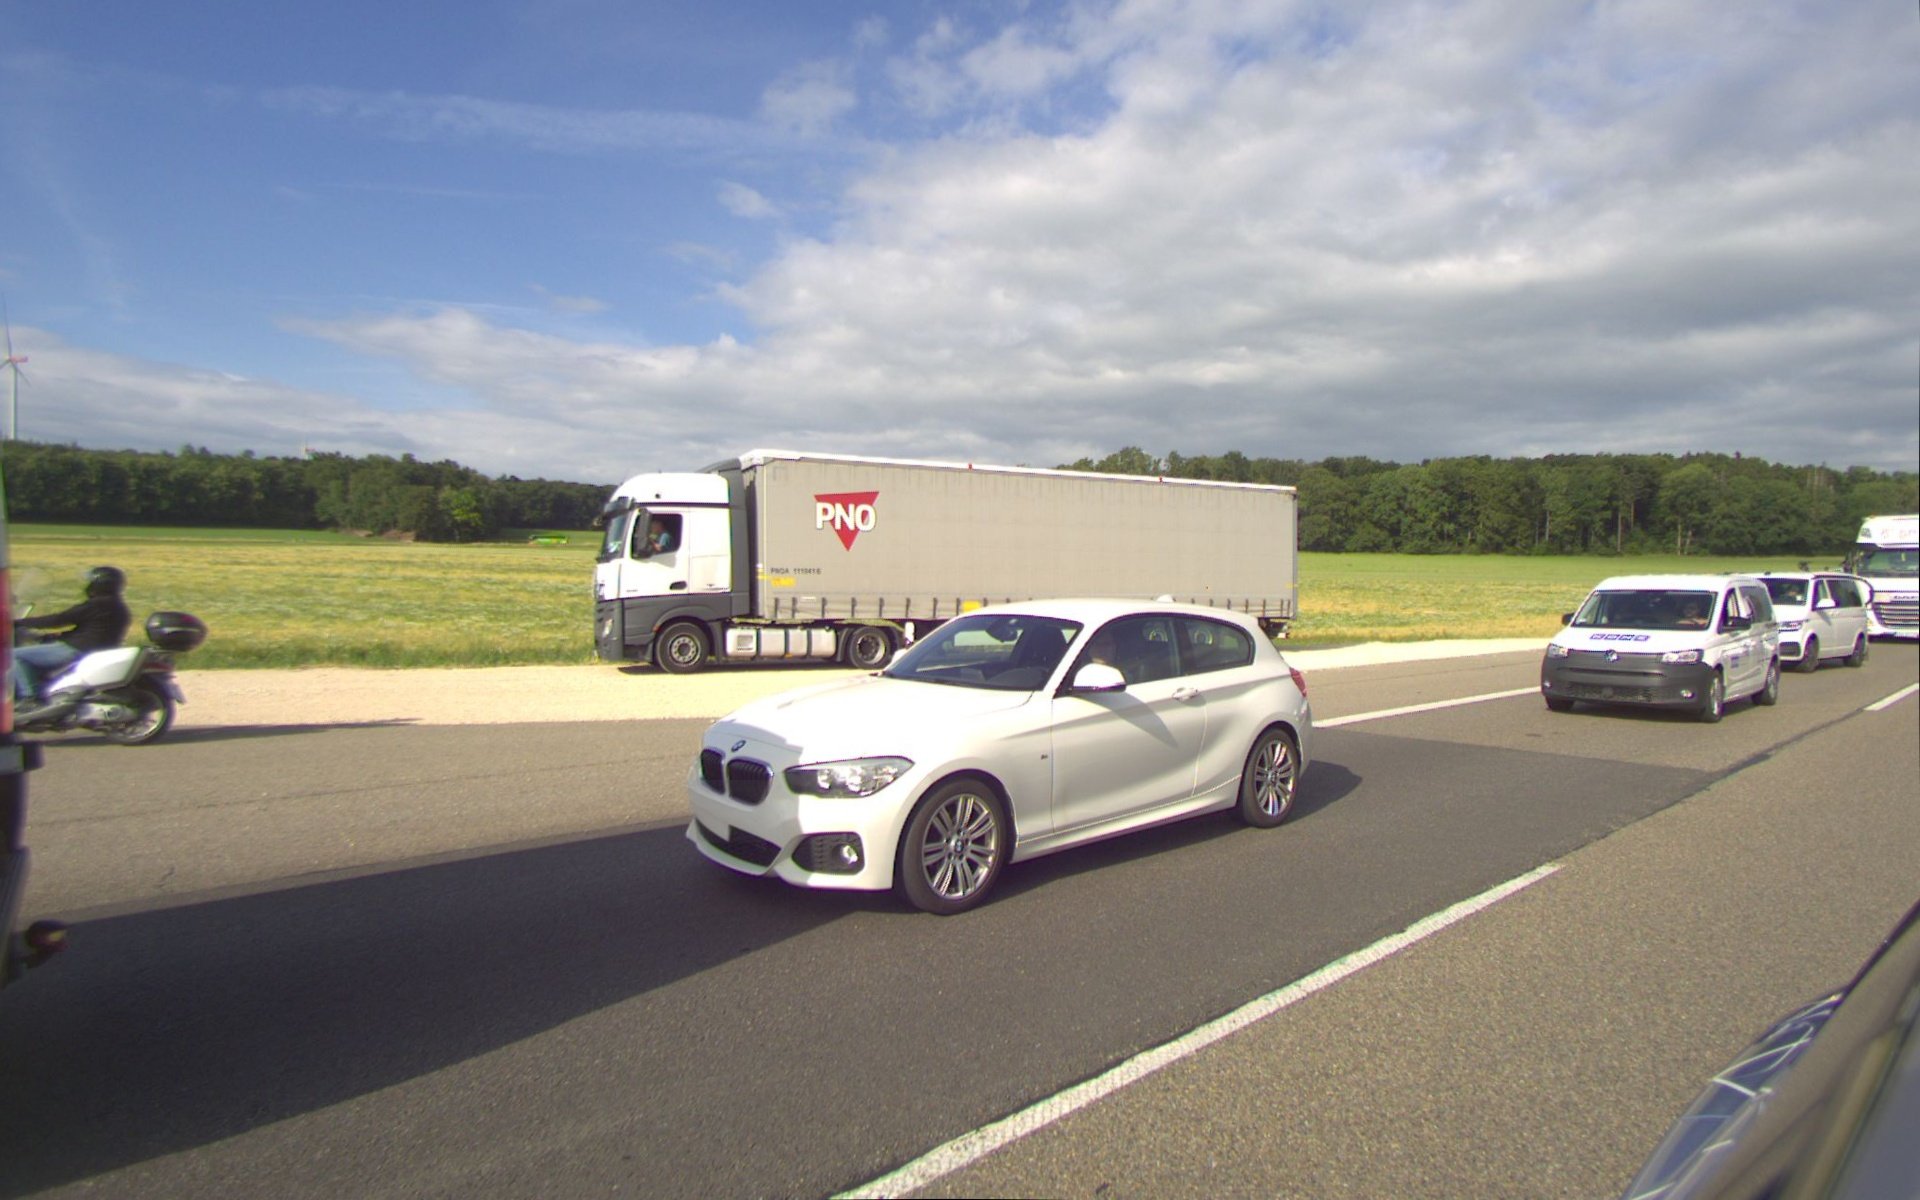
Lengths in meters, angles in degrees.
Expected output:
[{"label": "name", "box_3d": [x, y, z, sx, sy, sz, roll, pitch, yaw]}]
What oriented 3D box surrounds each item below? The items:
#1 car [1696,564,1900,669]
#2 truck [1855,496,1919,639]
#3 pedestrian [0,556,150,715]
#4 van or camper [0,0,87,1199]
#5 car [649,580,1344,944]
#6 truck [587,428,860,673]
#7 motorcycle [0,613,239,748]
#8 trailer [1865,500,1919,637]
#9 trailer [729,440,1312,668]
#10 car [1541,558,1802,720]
[{"label": "car", "box_3d": [17.411, 0.288, 20.943, 5.165, 1.949, 1.802, 0, 0, -33]}, {"label": "truck", "box_3d": [30.519, -1.008, 31.922, 5.667, 4.226, 2.733, -1, 1, -41]}, {"label": "pedestrian", "box_3d": [-8.129, 0.317, 9.309, 0.802, 1.391, 0.759, 0, -1, -15]}, {"label": "van or camper", "box_3d": [-5.021, 0.005, 1.029, 6.221, 2.714, 2.219, 0, 1, -41]}, {"label": "car", "box_3d": [0.473, 0.637, 6.070, 4.159, 1.450, 1.706, 0, 0, -42]}, {"label": "truck", "box_3d": [-4.615, -0.856, 19.658, 4.662, 4.227, 2.727, 0, 0, -26]}, {"label": "motorcycle", "box_3d": [-8.063, 0.716, 9.315, 2.197, 1.164, 0.759, 0, -1, -15]}, {"label": "trailer", "box_3d": [34.907, -1.097, 35.806, 13.778, 4.212, 2.739, -1, 1, -42]}, {"label": "trailer", "box_3d": [1.877, -0.846, 22.855, 13.543, 4.213, 2.748, 0, 0, -26]}, {"label": "car", "box_3d": [9.459, 0.422, 13.293, 4.620, 1.779, 1.727, 0, 0, -41]}]
